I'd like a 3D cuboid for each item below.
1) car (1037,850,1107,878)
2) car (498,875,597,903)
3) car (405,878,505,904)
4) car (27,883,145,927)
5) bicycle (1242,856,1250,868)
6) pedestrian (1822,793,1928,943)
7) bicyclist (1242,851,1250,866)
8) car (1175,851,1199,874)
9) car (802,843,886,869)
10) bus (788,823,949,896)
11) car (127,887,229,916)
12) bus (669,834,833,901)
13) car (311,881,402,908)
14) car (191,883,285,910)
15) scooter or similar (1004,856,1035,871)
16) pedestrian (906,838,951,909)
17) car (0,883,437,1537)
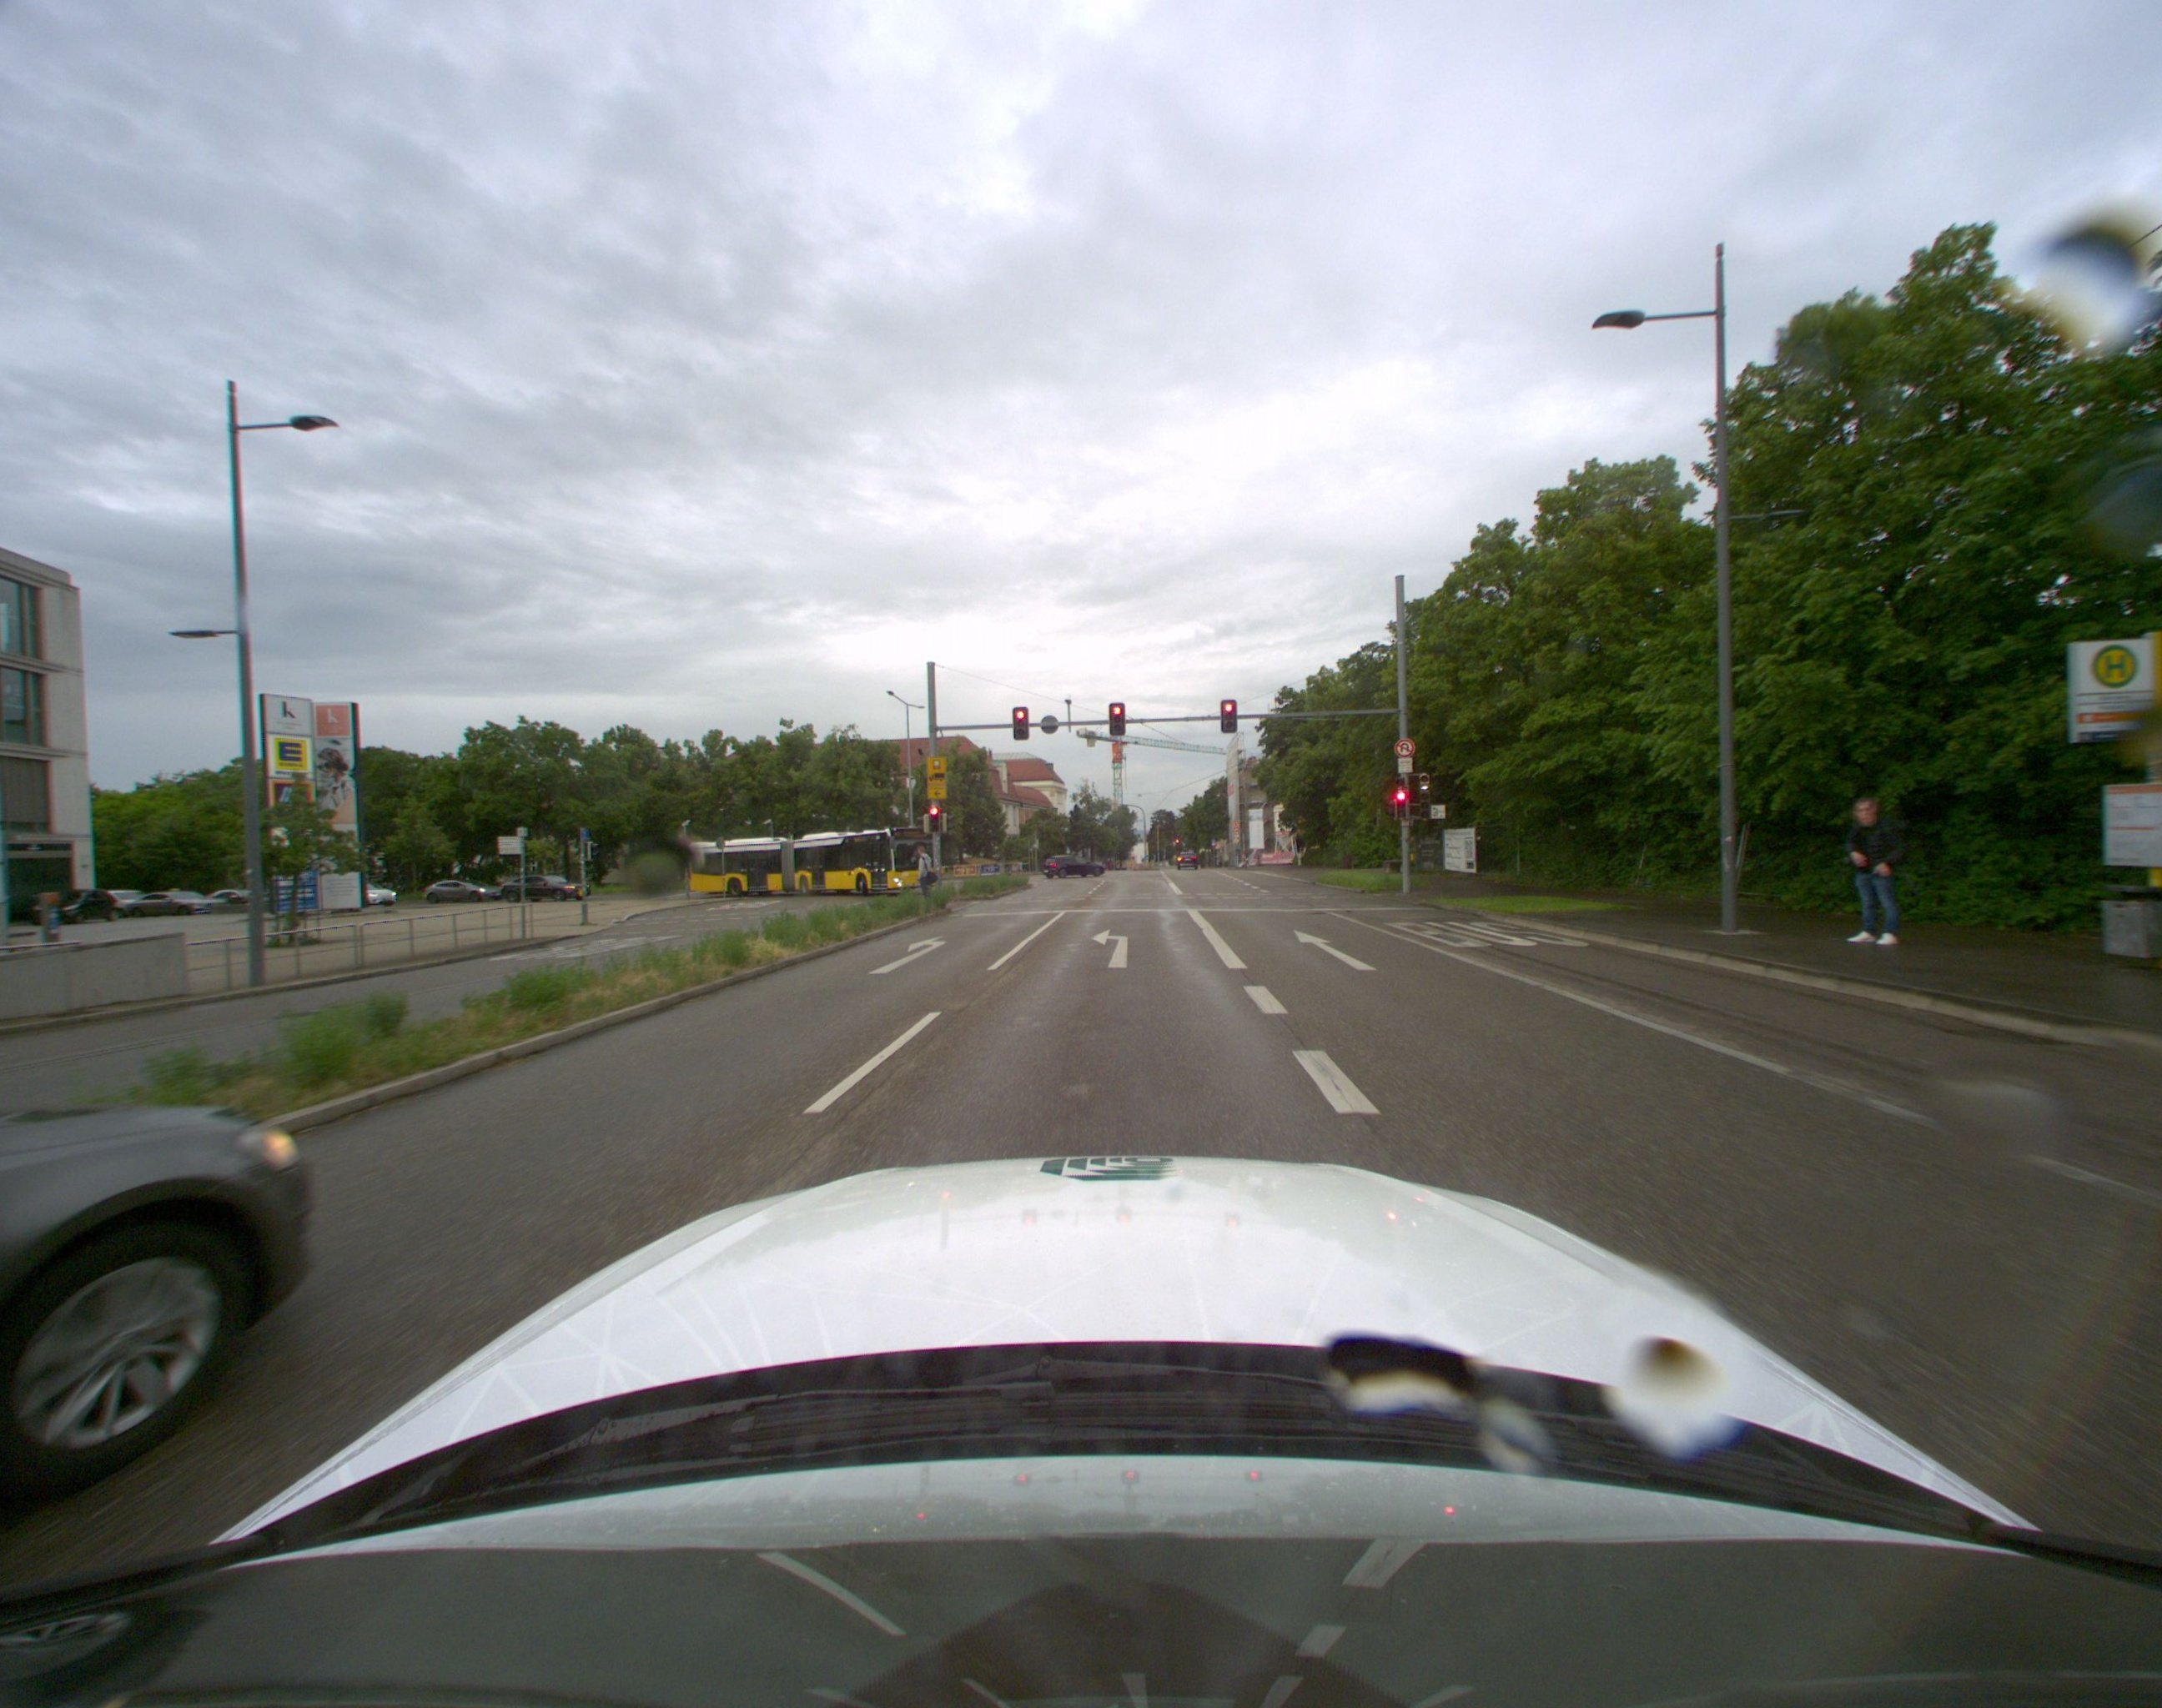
[{"bbox_3d":[-0.577,0.653,52.243,4.005,1.706,1.984,1,-2,-24],"label":"car"},{"bbox_3d":[-30.924,2.004,47.268,4.428,1.425,2.002,-1,0,2],"label":"car"},{"bbox_3d":[-39.137,2.299,50.974,4.843,1.425,1.847,-1,0,2],"label":"car"},{"bbox_3d":[-45.642,2.296,37.499,1.781,1.731,3.968,-2,0,-24],"label":"car"},{"bbox_3d":[17.174,0.845,84.876,0.717,1.193,1.758,0,-2,6],"label":"bicycle"},{"bbox_3d":[10.485,0.176,10.779,0.638,1.901,0.718,-2,0,-1],"label":"pedestrian"},{"bbox_3d":[17.185,0.459,84.891,0.717,1.564,1.144,0,-2,6],"label":"bicyclist"},{"bbox_3d":[9.928,0.810,76.474,1.935,2.021,4.555,0,-2,4],"label":"car"},{"bbox_3d":[-14.157,0.111,48.955,4.498,1.425,1.996,-1,0,-6],"label":"car"},{"bbox_3d":[-10.482,0.323,39.278,9.635,3.103,2.915,-2,0,45],"label":"bus"},{"bbox_3d":[-50.474,2.639,45.556,3.950,1.425,1.670,-1,0,2],"label":"car"},{"bbox_3d":[-18.099,0.746,44.652,8.475,3.307,2.912,-2,0,20],"label":"bus"},{"bbox_3d":[-42.994,2.368,48.380,3.757,1.425,1.847,-1,0,3],"label":"car"},{"bbox_3d":[-50.883,2.563,49.204,3.757,1.425,1.847,-1,0,3],"label":"car"},{"bbox_3d":[-6.349,0.949,84.654,3.075,1.440,0.949,-2,0,2],"label":"scooter or similar"},{"bbox_3d":[-4.522,0.575,24.179,0.934,2.013,0.849,-5,-1,9],"label":"pedestrian"},{"bbox_3d":[-3.392,0.874,0.933,1.799,1.429,4.198,-4,0,2],"label":"car"}]
